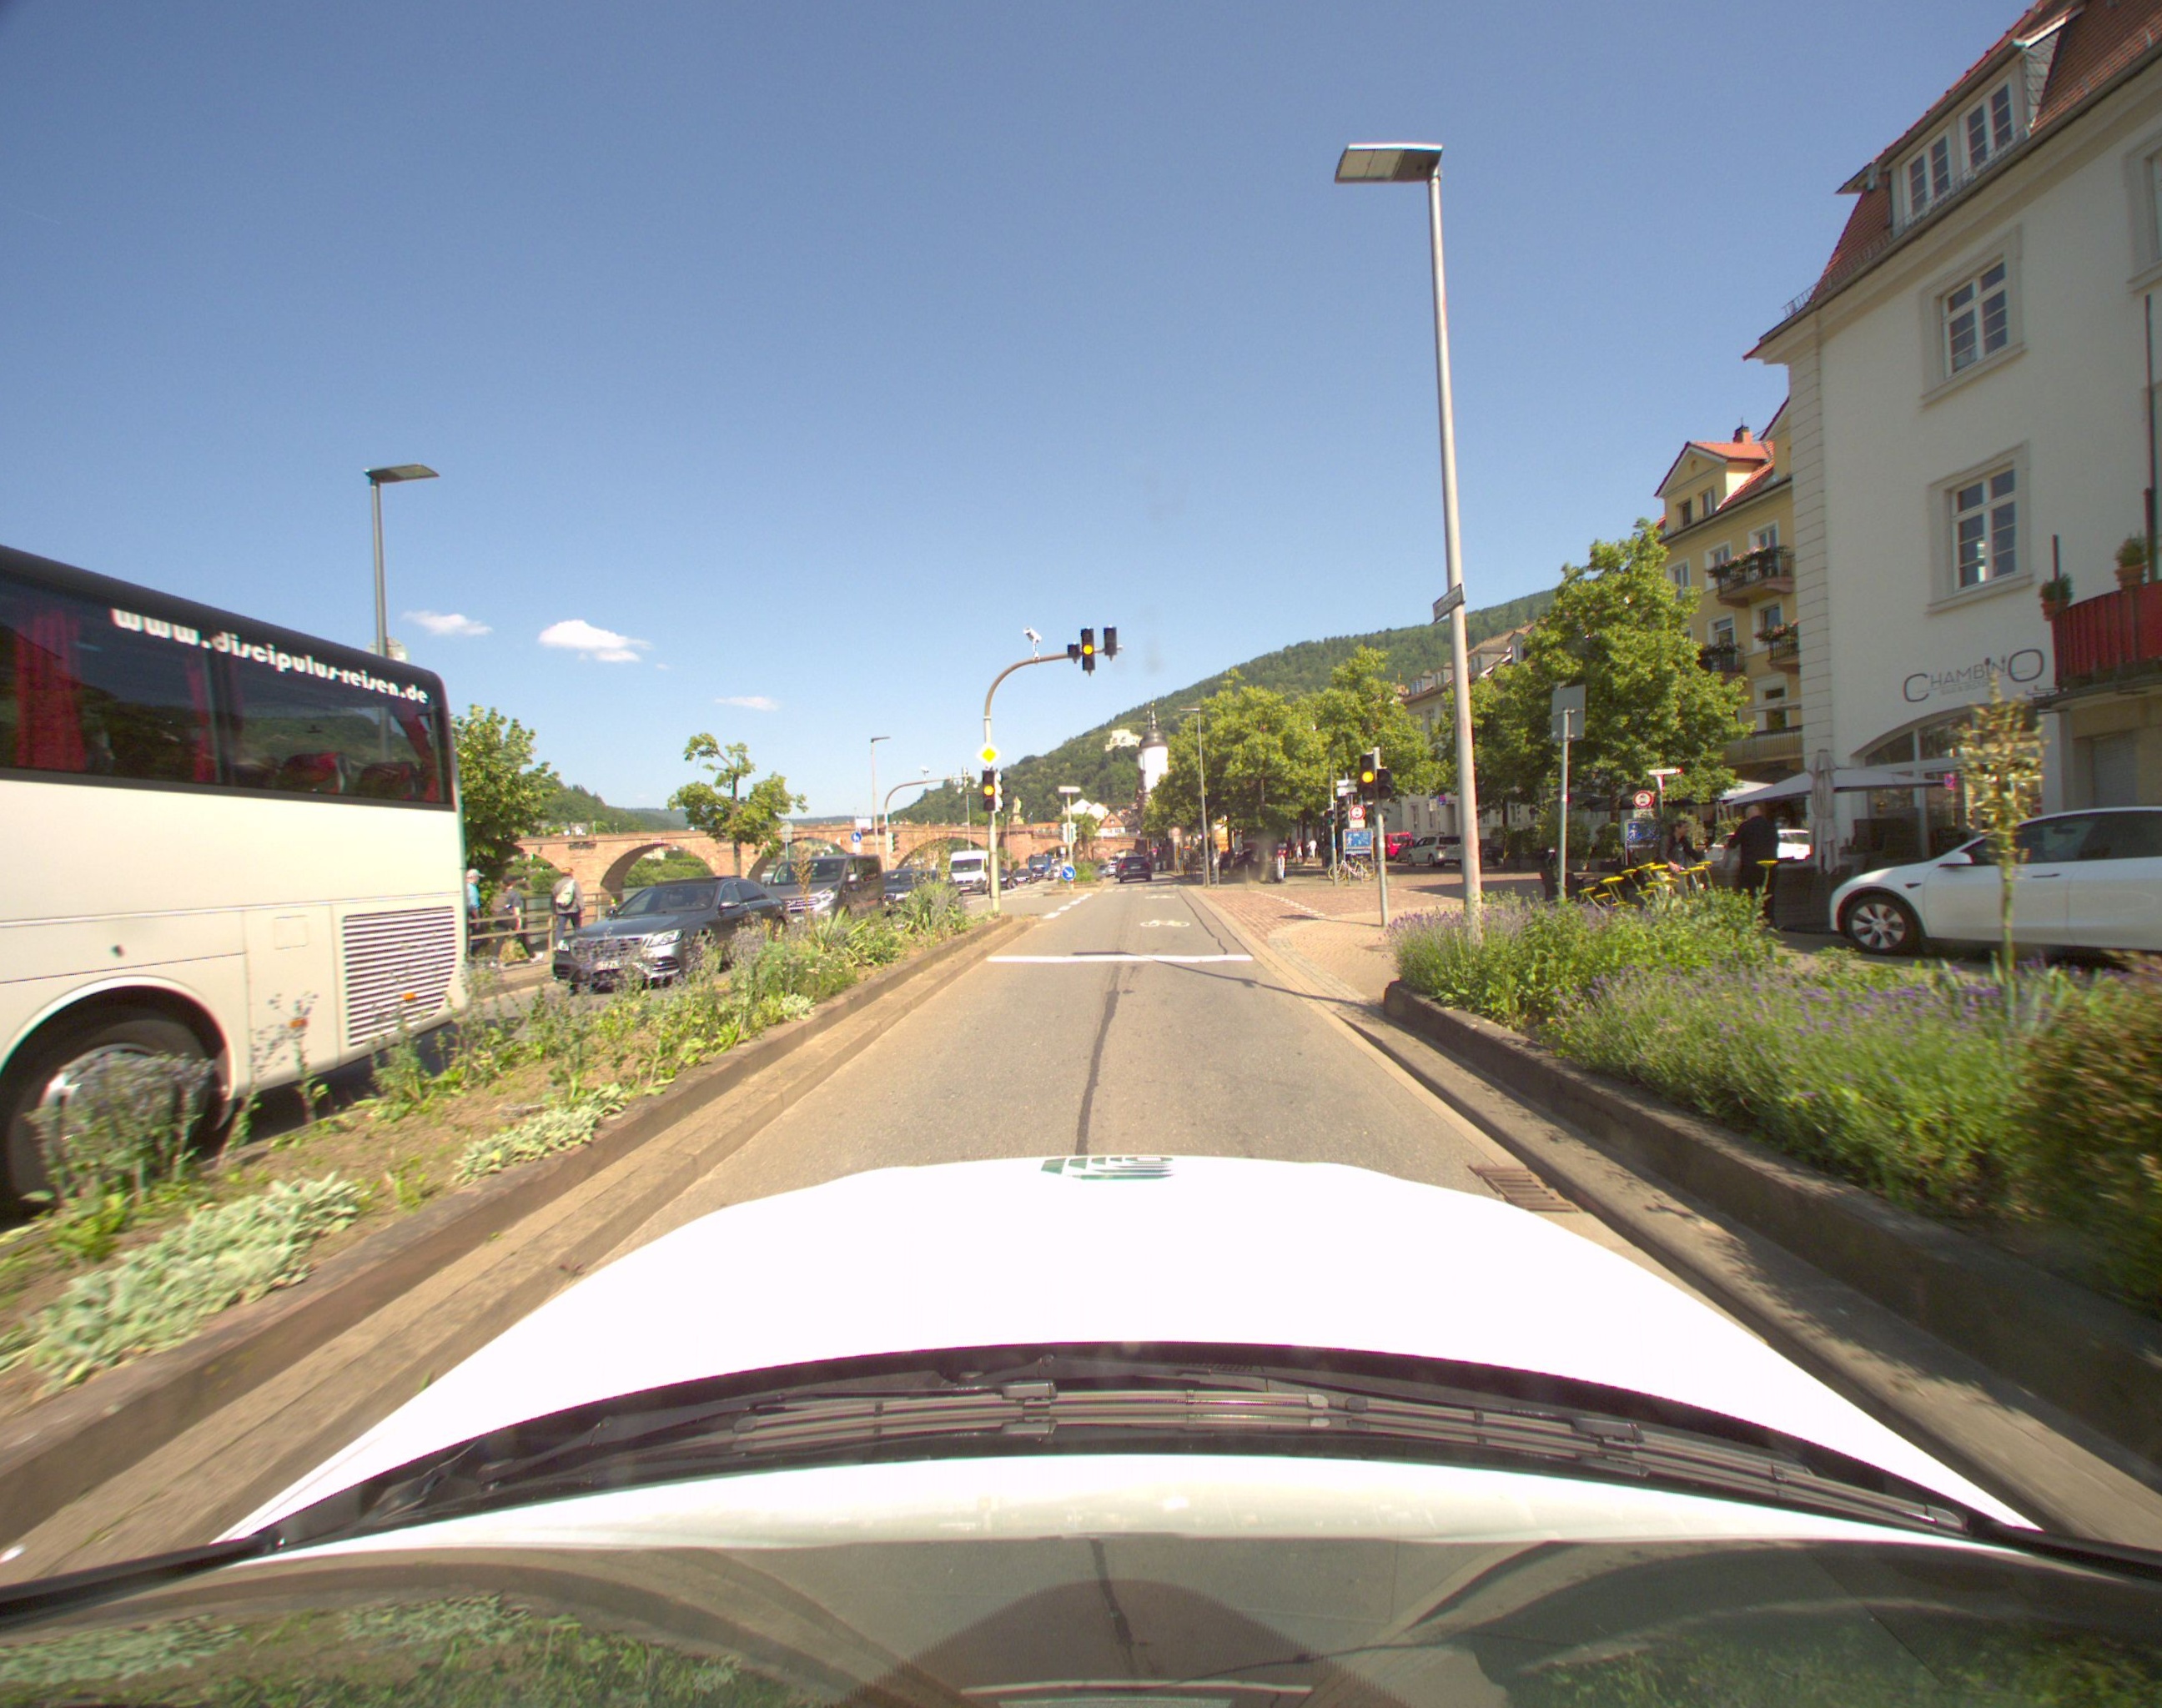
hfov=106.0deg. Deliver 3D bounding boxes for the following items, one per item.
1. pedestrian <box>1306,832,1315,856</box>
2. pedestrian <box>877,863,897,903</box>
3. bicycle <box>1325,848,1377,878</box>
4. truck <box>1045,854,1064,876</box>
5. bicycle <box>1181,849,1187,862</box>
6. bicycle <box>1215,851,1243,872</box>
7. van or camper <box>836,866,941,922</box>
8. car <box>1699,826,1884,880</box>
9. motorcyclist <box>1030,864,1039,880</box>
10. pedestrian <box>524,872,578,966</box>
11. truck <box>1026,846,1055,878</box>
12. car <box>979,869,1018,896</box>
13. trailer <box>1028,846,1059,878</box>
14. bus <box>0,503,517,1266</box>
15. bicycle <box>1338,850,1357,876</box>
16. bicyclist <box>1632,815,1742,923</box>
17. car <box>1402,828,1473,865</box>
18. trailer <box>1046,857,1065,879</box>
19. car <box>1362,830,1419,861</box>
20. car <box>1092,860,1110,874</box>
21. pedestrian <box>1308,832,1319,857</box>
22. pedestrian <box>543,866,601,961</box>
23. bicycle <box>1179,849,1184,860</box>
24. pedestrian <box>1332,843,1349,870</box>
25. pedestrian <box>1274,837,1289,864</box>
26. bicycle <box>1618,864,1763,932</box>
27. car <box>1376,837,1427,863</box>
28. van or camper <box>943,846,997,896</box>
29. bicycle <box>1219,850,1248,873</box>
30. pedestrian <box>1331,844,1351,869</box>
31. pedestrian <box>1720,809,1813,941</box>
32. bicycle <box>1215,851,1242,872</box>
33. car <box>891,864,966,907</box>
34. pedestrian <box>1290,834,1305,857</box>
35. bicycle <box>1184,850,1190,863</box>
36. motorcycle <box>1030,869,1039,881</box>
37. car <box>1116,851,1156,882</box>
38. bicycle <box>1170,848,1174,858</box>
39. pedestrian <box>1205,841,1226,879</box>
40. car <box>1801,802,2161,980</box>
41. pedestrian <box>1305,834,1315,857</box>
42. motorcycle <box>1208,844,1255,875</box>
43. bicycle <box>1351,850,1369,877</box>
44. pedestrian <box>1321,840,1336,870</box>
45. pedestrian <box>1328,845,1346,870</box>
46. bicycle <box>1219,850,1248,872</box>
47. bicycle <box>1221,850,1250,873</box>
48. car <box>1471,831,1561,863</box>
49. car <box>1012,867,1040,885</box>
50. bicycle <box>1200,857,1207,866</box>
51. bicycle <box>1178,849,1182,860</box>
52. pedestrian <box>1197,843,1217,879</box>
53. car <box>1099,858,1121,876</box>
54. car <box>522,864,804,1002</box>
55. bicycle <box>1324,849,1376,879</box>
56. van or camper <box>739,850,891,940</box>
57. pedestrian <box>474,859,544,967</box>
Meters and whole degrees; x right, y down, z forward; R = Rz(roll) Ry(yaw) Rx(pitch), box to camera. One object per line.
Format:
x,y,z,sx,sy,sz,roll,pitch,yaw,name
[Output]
20.000,-0.859,71.015,0.583,2.013,0.596,-3,0,1,pedestrian
-8.924,1.343,37.429,0.692,1.780,0.762,3,-3,-6,pedestrian
11.117,0.370,33.606,1.997,1.198,0.523,-1,0,14,bicycle
-4.302,1.779,133.041,2.649,3.403,5.134,-3,0,0,truck
9.392,0.142,74.172,0.274,1.096,1.489,-7,-1,2,bicycle
8.574,0.425,47.244,1.481,1.120,0.250,-4,-1,-4,bicycle
-6.121,1.229,26.631,1.986,1.476,5.067,-4,-1,2,van or camper
21.274,-0.055,24.503,3.973,1.455,1.834,-2,2,1,car
-4.725,1.816,82.371,0.733,1.470,1.011,-3,0,0,motorcyclist
-9.345,1.122,14.371,0.539,1.600,0.641,0,-1,-2,pedestrian
-4.546,0.912,92.240,2.647,3.403,4.452,-3,0,2,truck
-5.504,1.878,54.882,1.812,1.455,4.931,-5,0,2,car
-4.346,0.907,96.569,2.647,3.403,8.831,-3,0,2,trailer
-6.252,0.131,0.816,2.624,3.564,12.971,-3,-1,-2,bus
11.452,0.376,34.983,0.589,1.067,2.076,-4,-1,21,bicycle
9.468,0.222,12.762,0.767,1.583,1.085,-3,0,-12,bicyclist
18.377,-0.366,42.202,1.762,1.728,4.570,-3,0,2,car
-4.282,2.319,137.619,2.649,3.403,10.166,-3,0,0,trailer
20.662,-0.552,54.634,1.987,1.902,4.633,-3,0,0,car
2.434,1.549,98.936,1.986,1.553,4.835,-3,0,2,car
19.603,-0.802,68.660,0.632,2.013,0.644,-3,0,1,pedestrian
-10.310,1.186,16.518,0.760,1.858,0.694,0,-1,-6,pedestrian
9.445,0.045,76.578,0.249,1.096,1.489,-1,-1,2,bicycle
13.318,0.117,41.786,0.625,1.382,0.540,-1,-1,-6,pedestrian
12.645,-0.233,51.330,0.705,1.653,0.707,-3,0,2,pedestrian
9.494,0.658,12.784,0.749,0.964,1.776,-2,-1,-9,bicycle
19.524,-0.217,49.712,1.669,1.432,3.470,-3,-1,0,car
-6.077,0.929,45.395,1.987,2.450,5.494,-4,-1,1,van or camper
8.407,0.407,44.841,1.481,1.120,0.378,-4,-1,-4,bicycle
13.107,0.121,41.051,0.693,1.252,0.762,-3,0,-6,pedestrian
10.219,0.303,12.162,0.761,1.858,0.609,-4,0,-6,pedestrian
8.685,0.431,47.991,1.481,1.120,0.250,-4,-1,-4,bicycle
-6.110,1.210,33.161,1.945,1.408,4.572,-5,0,2,car
18.428,-0.701,69.276,0.964,1.915,0.748,-3,-1,3,pedestrian
9.220,0.214,70.602,0.344,1.096,1.489,-1,-1,2,bicycle
-4.714,2.145,82.326,0.755,1.131,2.454,-3,0,-1,motorcycle
3.063,0.686,46.292,1.920,1.553,4.832,-3,-1,1,car
9.936,-0.090,89.216,0.354,1.096,1.492,-1,-1,8,bicycle
6.423,0.290,38.988,0.693,1.771,0.762,-4,0,-6,pedestrian
10.390,0.295,8.144,1.875,1.577,4.716,-2,0,-6,car
19.104,-0.728,67.872,0.583,1.840,0.596,-3,0,1,pedestrian
7.951,0.285,43.125,2.269,1.465,0.769,-5,-2,43,motorcycle
11.906,0.401,34.724,0.589,1.067,2.076,-4,-2,21,bicycle
12.817,0.060,42.199,0.458,1.517,0.689,-2,0,-6,pedestrian
13.342,0.200,42.415,0.625,1.281,0.752,-1,0,-6,pedestrian
8.469,0.409,45.337,1.481,1.120,0.293,-4,-1,-4,bicycle
8.422,0.407,44.458,1.479,1.120,0.294,-4,-1,0,bicycle
22.237,-0.360,41.712,3.729,1.432,1.621,-3,0,-1,car
-4.832,1.928,72.268,1.944,1.412,4.221,-5,-2,2,car
9.007,0.562,59.937,0.249,0.664,1.469,-3,0,1,bicycle
9.513,0.039,78.506,0.249,1.096,1.489,-1,-1,2,bicycle
6.152,0.348,39.716,0.693,1.677,0.762,-4,0,-6,pedestrian
2.762,1.223,78.186,1.986,1.553,4.835,-3,0,2,car
-6.459,1.087,13.471,1.989,1.598,5.153,-6,0,-2,car
10.935,0.418,33.125,1.984,1.198,0.523,-1,0,14,bicycle
-6.463,0.913,20.520,1.987,1.873,5.179,-4,0,0,van or camper
-10.084,1.018,14.392,0.760,1.858,0.694,0,-1,-6,pedestrian
